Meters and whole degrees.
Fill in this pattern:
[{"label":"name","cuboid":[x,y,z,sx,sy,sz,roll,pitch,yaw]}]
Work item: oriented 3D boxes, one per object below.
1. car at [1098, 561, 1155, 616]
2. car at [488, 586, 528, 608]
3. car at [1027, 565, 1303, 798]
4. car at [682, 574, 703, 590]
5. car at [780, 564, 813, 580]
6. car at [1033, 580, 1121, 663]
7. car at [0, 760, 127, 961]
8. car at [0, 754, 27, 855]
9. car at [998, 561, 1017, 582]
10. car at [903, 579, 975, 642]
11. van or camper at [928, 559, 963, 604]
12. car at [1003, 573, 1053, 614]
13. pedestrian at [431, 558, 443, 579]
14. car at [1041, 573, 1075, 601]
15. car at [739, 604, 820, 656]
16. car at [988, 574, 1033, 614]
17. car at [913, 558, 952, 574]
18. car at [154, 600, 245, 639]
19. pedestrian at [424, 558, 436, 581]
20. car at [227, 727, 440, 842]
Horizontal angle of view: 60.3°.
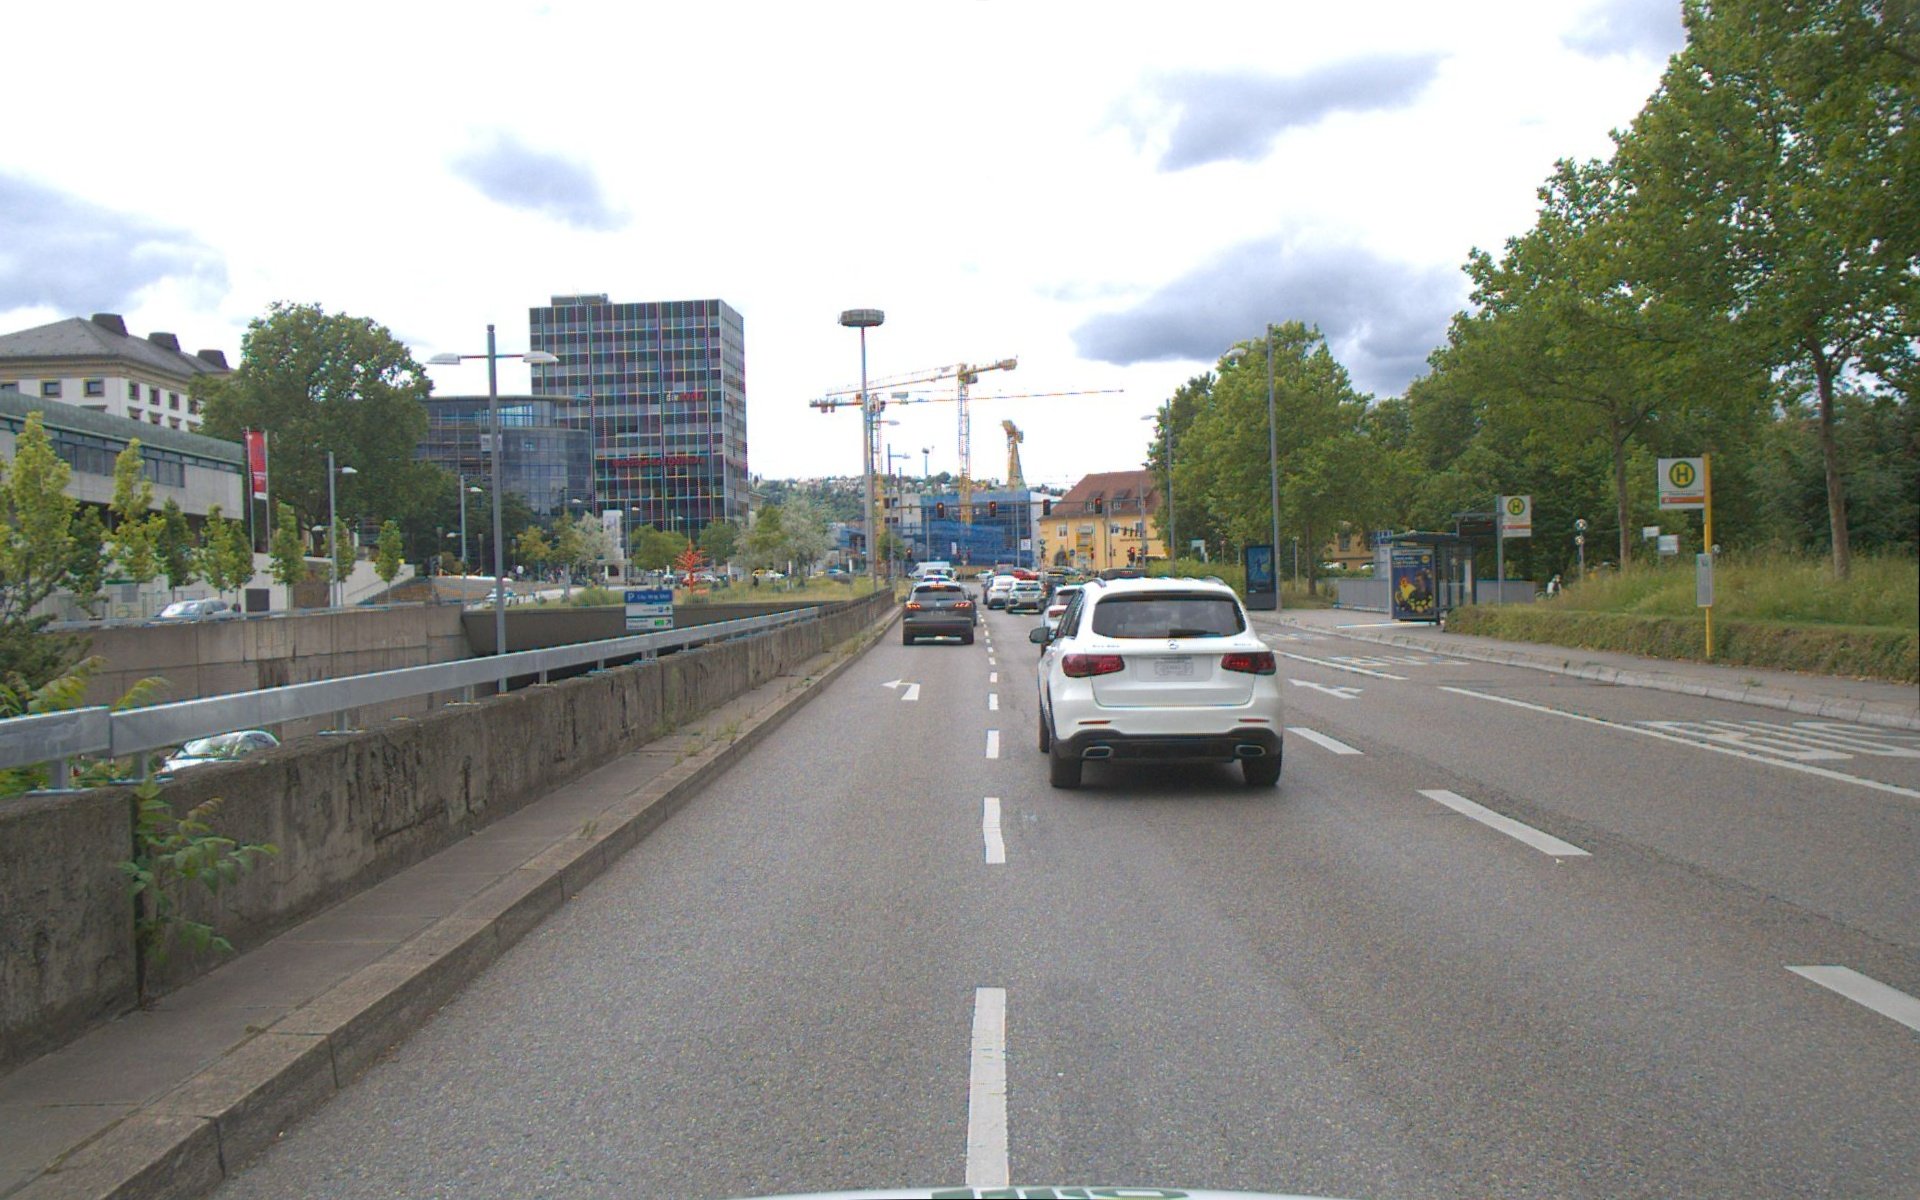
[{"label":"car","cuboid":[6.375,-0.451,63.659,1.751,2.049,4.000,-1,1,-1]},{"label":"car","cuboid":[-31.459,-0.191,115.201,1.772,1.452,3.706,1,0,-1]},{"label":"car","cuboid":[1.595,0.615,14.223,1.901,1.713,4.000,0,0,0]},{"label":"car","cuboid":[-30.193,-2.029,186.832,1.829,1.646,3.481,1,0,-1]},{"label":"car","cuboid":[-21.192,-3.625,214.061,3.924,2.049,1.990,1,-1,-17]},{"label":"car","cuboid":[2.444,0.428,35.281,1.638,1.656,4.000,1,0,1]},{"label":"car","cuboid":[-9.365,2.426,14.333,1.953,1.508,4.807,-2,0,-2]},{"label":"car","cuboid":[-20.036,4.116,31.528,1.780,1.930,4.902,1,0,-1]},{"label":"car","cuboid":[4.767,-2.861,165.937,1.763,2.049,3.999,1,0,-1]},{"label":"car","cuboid":[-0.581,0.260,45.597,1.883,1.630,4.000,-1,1,-1]},{"label":"van or camper","cuboid":[-0.801,-1.031,92.925,1.883,2.360,3.999,-1,-1,-1]},{"label":"car","cuboid":[2.891,-0.259,71.288,1.953,1.691,3.999,1,0,-1]},{"label":"pedestrian","cuboid":[-44.182,-2.674,139.636,0.679,1.759,0.641,0,-1,23]},{"label":"car","cuboid":[5.939,-0.787,100.593,1.684,1.612,3.999,1,0,-2]},{"label":"car","cuboid":[-4.935,0.808,45.660,1.683,1.315,4.001,1,0,1]},{"label":"car","cuboid":[2.385,-0.268,79.038,1.953,1.812,3.999,1,0,-1]},{"label":"car","cuboid":[-3.741,-4.541,221.272,5.184,2.096,1.866,0,-1,37]},{"label":"car","cuboid":[-27.738,0.704,60.437,1.796,1.384,3.864,1,0,-5]},{"label":"pedestrian","cuboid":[-41.457,-2.380,129.399,0.680,1.759,0.639,0,-1,32]},{"label":"car","cuboid":[-10.689,3.109,28.640,1.775,1.486,4.863,0,0,1]}]
